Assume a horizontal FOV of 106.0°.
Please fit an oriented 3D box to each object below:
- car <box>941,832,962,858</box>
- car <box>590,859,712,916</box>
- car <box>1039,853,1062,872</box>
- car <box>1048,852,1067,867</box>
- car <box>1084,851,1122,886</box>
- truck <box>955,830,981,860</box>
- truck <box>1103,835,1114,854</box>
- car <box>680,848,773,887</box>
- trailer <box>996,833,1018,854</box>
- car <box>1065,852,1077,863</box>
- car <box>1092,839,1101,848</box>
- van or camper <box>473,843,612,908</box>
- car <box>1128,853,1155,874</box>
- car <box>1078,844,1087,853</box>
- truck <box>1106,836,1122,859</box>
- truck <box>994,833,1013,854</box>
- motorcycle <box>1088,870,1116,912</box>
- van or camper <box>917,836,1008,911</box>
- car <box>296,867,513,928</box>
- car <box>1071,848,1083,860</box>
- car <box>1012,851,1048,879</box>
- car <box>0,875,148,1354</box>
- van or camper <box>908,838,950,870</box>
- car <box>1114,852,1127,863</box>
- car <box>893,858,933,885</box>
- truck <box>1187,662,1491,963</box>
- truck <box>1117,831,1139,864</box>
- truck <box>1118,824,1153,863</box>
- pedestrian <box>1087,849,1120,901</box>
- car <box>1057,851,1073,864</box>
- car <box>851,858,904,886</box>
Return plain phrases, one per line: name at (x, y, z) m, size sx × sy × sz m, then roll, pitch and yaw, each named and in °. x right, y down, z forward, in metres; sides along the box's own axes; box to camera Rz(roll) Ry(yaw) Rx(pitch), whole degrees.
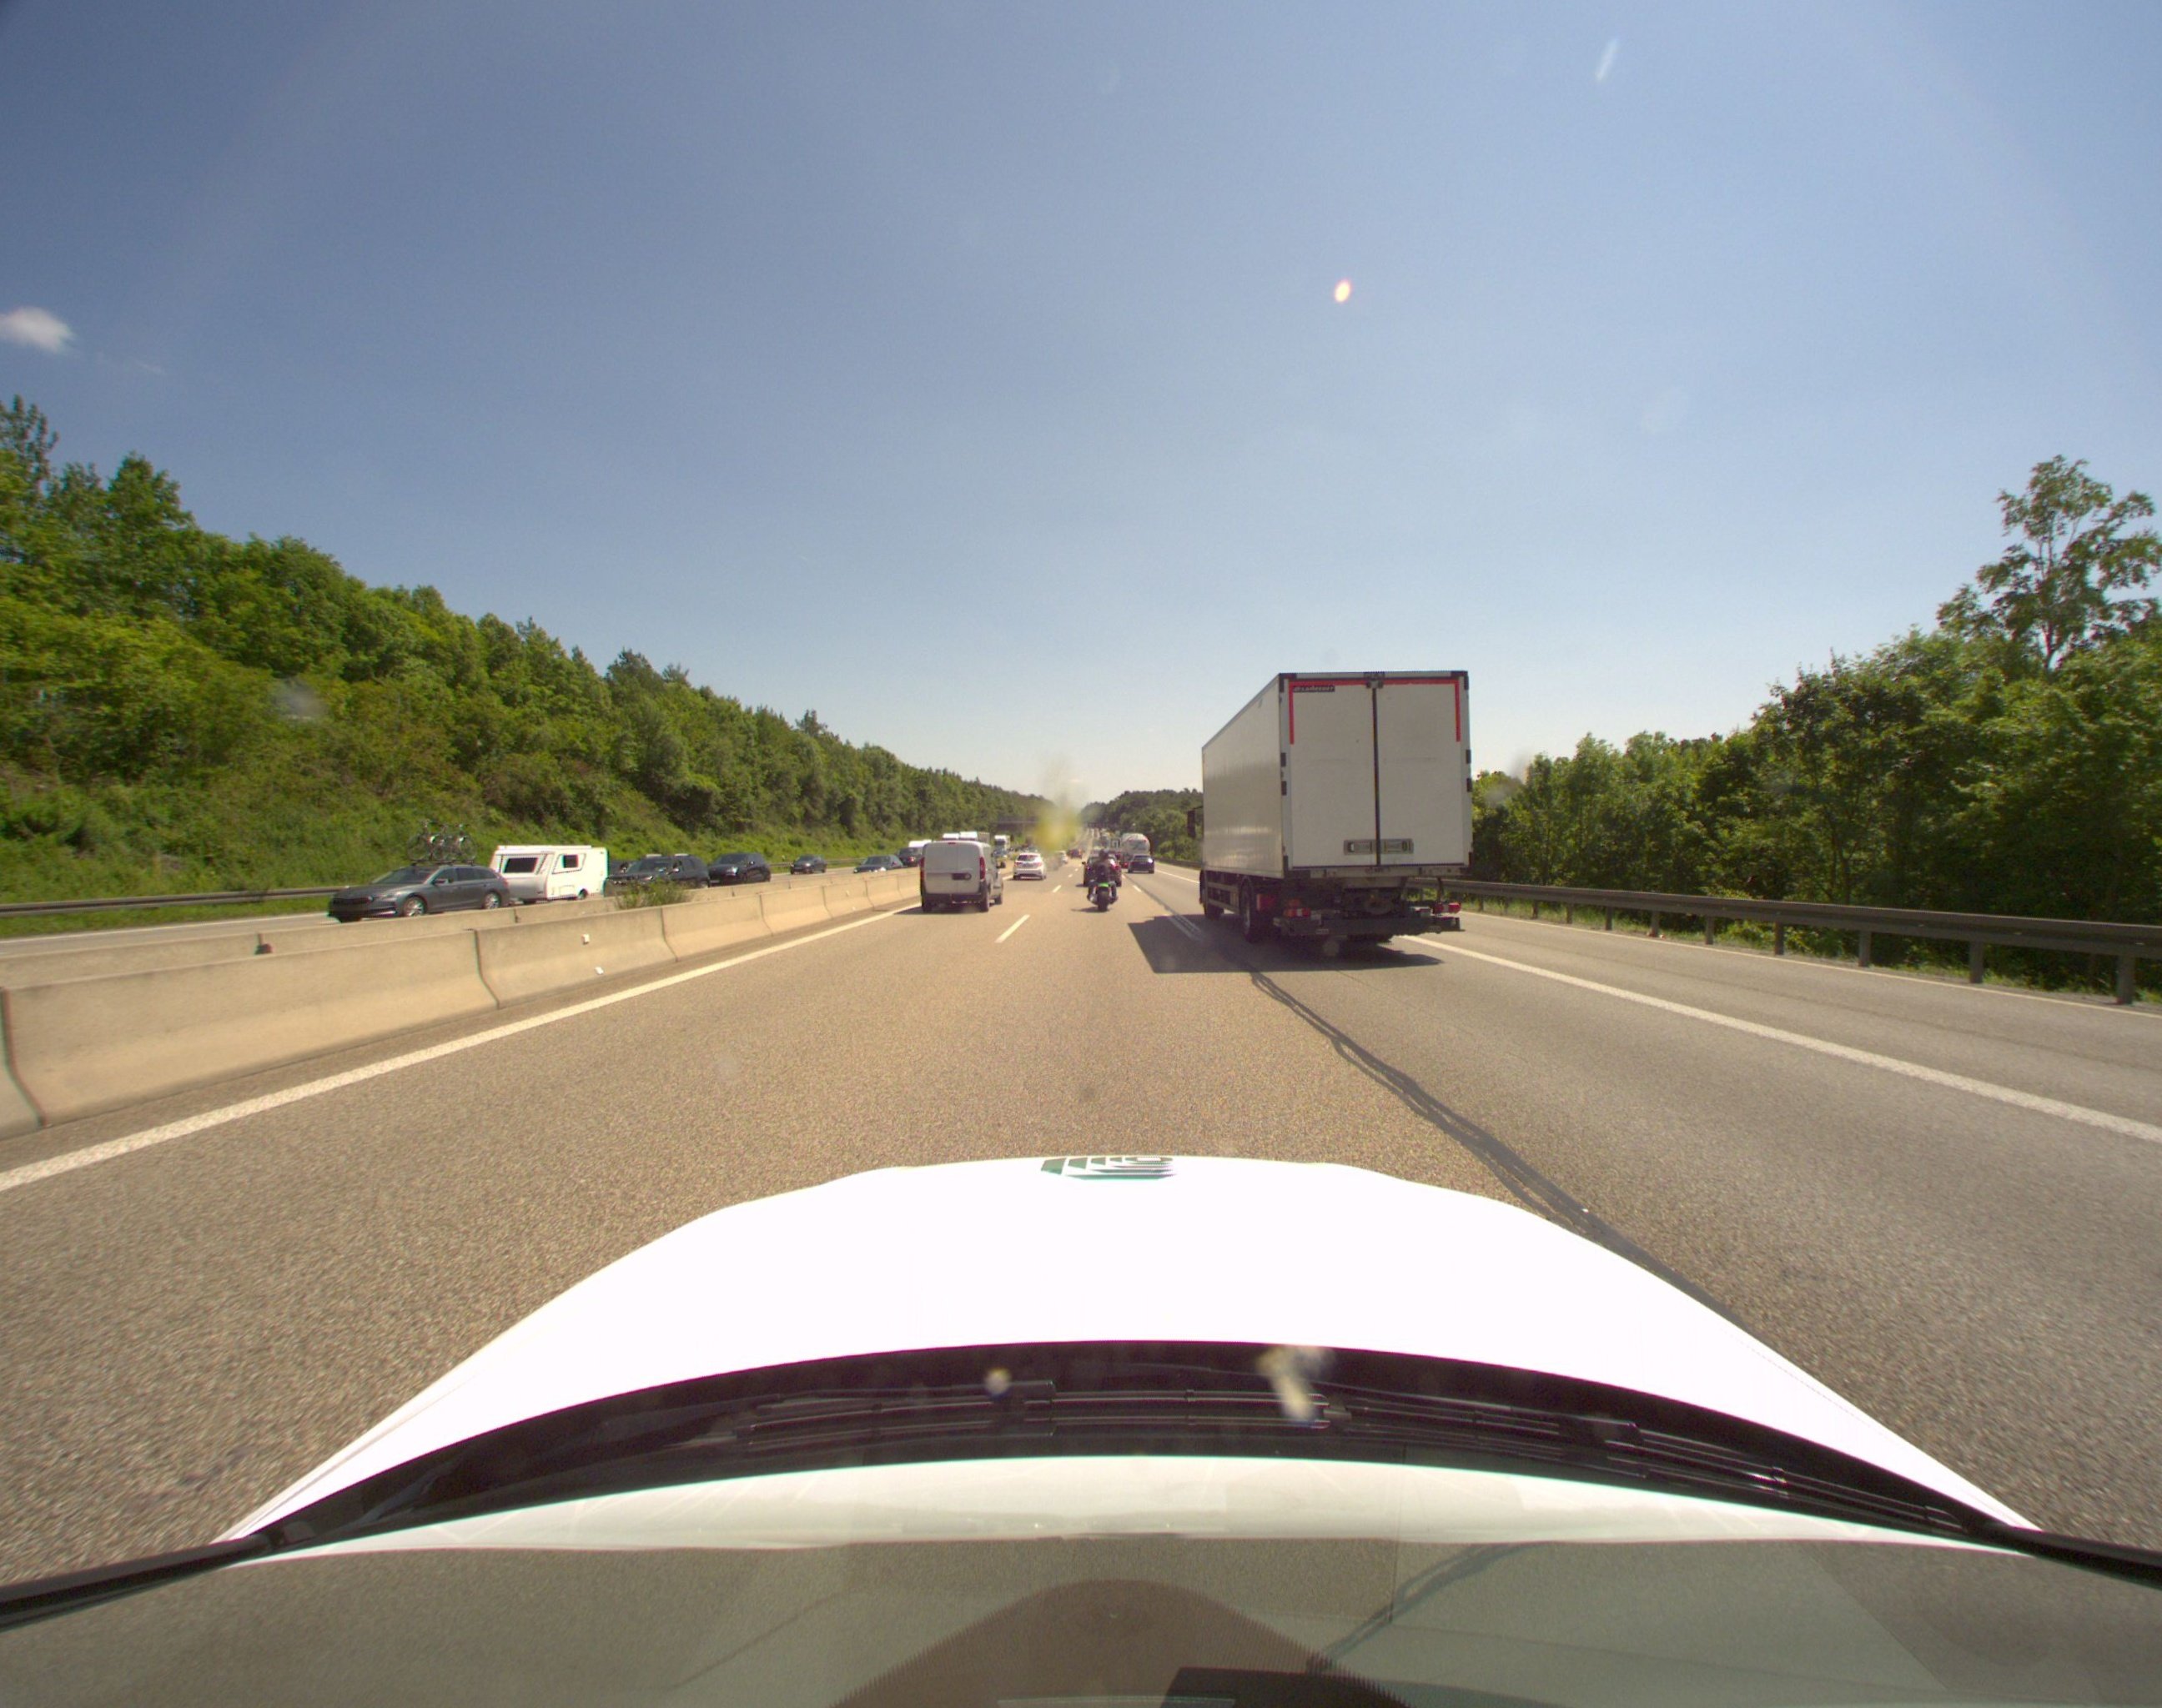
car at (-19.956, -1.408, 125.786) m, size 2.440 × 3.873 × 4.566 m, roll -1°, pitch 0°, yaw 1°
car at (-13.988, 1.035, 26.804) m, size 1.687 × 1.683 × 4.197 m, roll -1°, pitch 0°, yaw 1°
car at (-2.484, 0.649, 66.891) m, size 1.693 × 1.478 × 4.001 m, roll 1°, pitch 0°, yaw 1°
car at (-2.384, 0.565, 82.905) m, size 1.693 × 1.478 × 4.001 m, roll 1°, pitch 0°, yaw 1°
car at (1.072, 0.653, 38.206) m, size 1.525 × 1.510 × 4.005 m, roll -1°, pitch 0°, yaw 5°
truck at (-16.209, -1.321, 117.298) m, size 2.831 × 4.214 × 5.661 m, roll 0°, pitch 0°, yaw 1°
truck at (7.810, -2.738, 233.747) m, size 3.022 × 5.139 × 9.985 m, roll 2°, pitch 0°, yaw 1°
car at (-15.875, 0.555, 36.810) m, size 1.918 × 1.639 × 4.929 m, roll -1°, pitch 0°, yaw 1°
trailer at (-16.322, -2.296, 180.300) m, size 2.792 × 4.338 × 14.045 m, roll -1°, pitch -1°, yaw 3°
car at (-1.825, 0.648, 146.189) m, size 1.986 × 2.014 × 4.001 m, roll -1°, pitch -1°, yaw 2°
car at (4.578, -2.930, 235.982) m, size 2.495 × 2.587 × 5.017 m, roll 1°, pitch 0°, yaw 1°
van or camper at (-17.884, 0.662, 27.283) m, size 2.068 × 1.977 × 3.706 m, roll -1°, pitch 0°, yaw 2°
car at (4.624, 0.730, 62.712) m, size 1.822 × 1.470 × 4.001 m, roll 2°, pitch 0°, yaw 1°
car at (0.436, -1.244, 197.865) m, size 1.922 × 2.014 × 4.001 m, roll -1°, pitch -1°, yaw 2°
truck at (7.050, -1.354, 173.417) m, size 3.022 × 4.542 × 9.985 m, roll 2°, pitch 0°, yaw 1°
truck at (-16.603, -2.233, 174.699) m, size 2.791 × 4.165 × 7.605 m, roll -1°, pitch -1°, yaw 3°
motorcycle at (0.584, 0.959, 21.893) m, size 0.689 × 1.015 × 2.122 m, roll 1°, pitch 0°, yaw 2°
van or camper at (-3.203, 0.513, 22.844) m, size 1.789 × 1.892 × 4.161 m, roll -1°, pitch -1°, yaw 2°
car at (-17.869, 1.090, 21.896) m, size 1.794 × 1.347 × 4.724 m, roll -1°, pitch 0°, yaw 1°
car at (-0.651, 0.054, 131.592) m, size 1.873 × 1.859 × 4.001 m, roll 1°, pitch 0°, yaw 1°
car at (-2.814, 0.607, 45.891) m, size 1.693 × 1.478 × 4.001 m, roll 1°, pitch 0°, yaw 1°
car at (-4.167, 0.801, 0.465) m, size 1.726 × 1.427 × 4.731 m, roll -1°, pitch 0°, yaw 1°
van or camper at (-13.491, 0.001, 72.791) m, size 2.222 × 2.761 × 6.838 m, roll -1°, pitch 0°, yaw 1°
car at (5.747, 0.474, 119.910) m, size 1.781 × 1.555 × 3.804 m, roll 1°, pitch 0°, yaw 1°
car at (-13.418, 1.376, 65.481) m, size 1.986 × 2.014 × 5.194 m, roll -1°, pitch -1°, yaw 1°
truck at (4.020, -0.546, 15.587) m, size 2.679 × 3.876 × 9.779 m, roll -2°, pitch 0°, yaw 0°
truck at (5.240, -0.702, 91.401) m, size 1.988 × 3.522 × 4.748 m, roll -1°, pitch -1°, yaw -1°
truck at (5.429, -0.931, 82.458) m, size 2.977 × 3.671 × 9.289 m, roll -1°, pitch -1°, yaw 1°
pedestrian at (0.615, 0.560, 21.979) m, size 0.846 × 1.362 × 0.962 m, roll -1°, pitch 0°, yaw 2°
car at (-1.828, 0.414, 95.800) m, size 1.693 × 1.478 × 4.001 m, roll 1°, pitch 0°, yaw 1°
car at (-10.624, 0.898, 42.750) m, size 1.608 × 1.376 × 4.271 m, roll -1°, pitch 0°, yaw 1°
